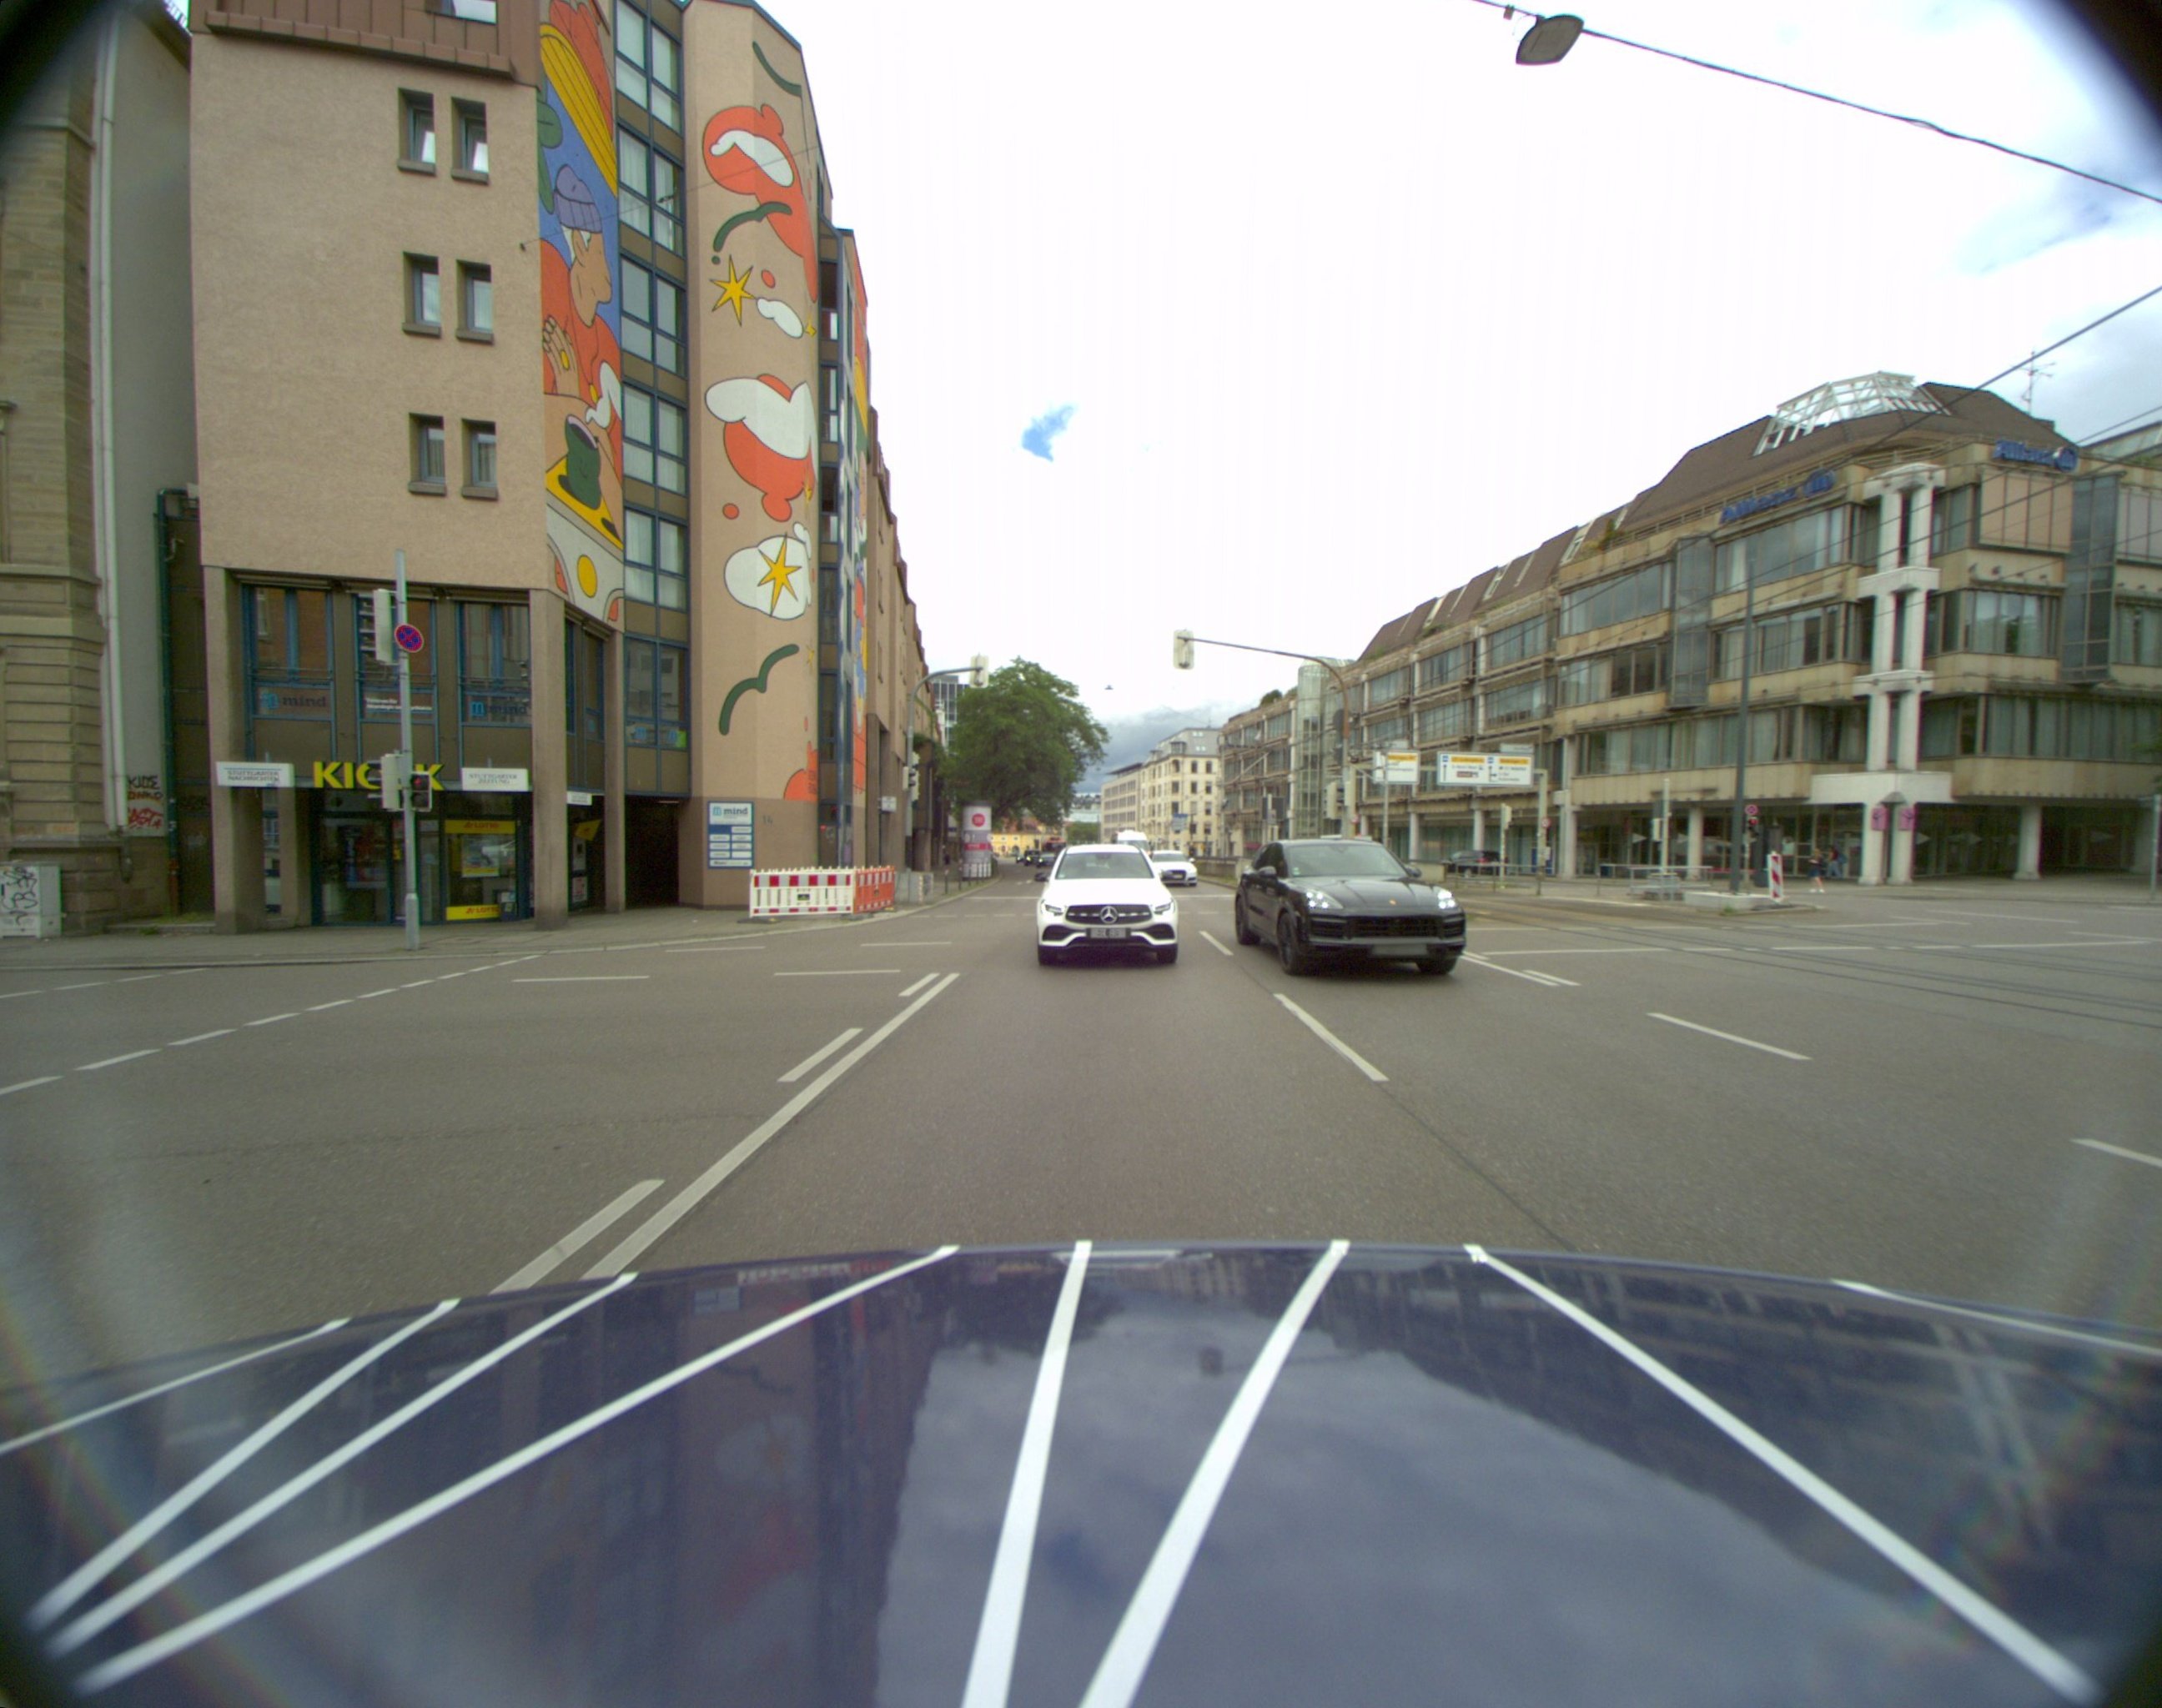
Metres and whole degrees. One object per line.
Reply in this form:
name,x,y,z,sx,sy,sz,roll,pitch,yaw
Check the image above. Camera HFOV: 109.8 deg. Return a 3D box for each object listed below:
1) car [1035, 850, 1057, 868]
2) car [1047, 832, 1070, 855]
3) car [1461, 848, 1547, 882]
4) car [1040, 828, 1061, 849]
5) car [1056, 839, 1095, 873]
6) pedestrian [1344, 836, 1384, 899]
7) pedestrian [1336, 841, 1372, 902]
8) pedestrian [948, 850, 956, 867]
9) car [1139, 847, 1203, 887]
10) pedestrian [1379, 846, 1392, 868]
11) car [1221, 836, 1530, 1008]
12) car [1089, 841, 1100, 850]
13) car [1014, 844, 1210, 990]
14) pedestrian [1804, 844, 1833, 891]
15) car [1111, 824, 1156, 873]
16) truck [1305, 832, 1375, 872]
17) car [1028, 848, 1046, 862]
car,-3.247,0.456,70.322,1.950,1.521,3.998,-1,1,-3
car,-2.950,-1.319,96.968,2.504,2.793,5.724,-1,1,-6
car,23.487,0.543,42.406,1.679,1.749,4.778,-1,1,-8
car,-4.229,-2.110,104.423,2.504,2.793,5.724,-1,1,-6
car,-0.371,0.114,51.655,2.503,2.145,5.726,-1,1,-1
pedestrian,7.779,0.362,20.917,0.794,1.711,0.772,0,1,-1
pedestrian,7.774,0.477,21.657,0.766,1.711,0.637,0,1,-1
pedestrian,-13.334,0.457,78.549,0.711,1.701,0.687,0,0,-1
car,3.662,0.486,31.608,1.950,1.521,3.998,-1,1,-3
pedestrian,25.289,0.205,63.031,0.733,1.801,0.739,-1,1,-6
car,3.373,0.677,10.106,2.088,1.665,5.352,-1,0,1
car,3.398,-2.074,187.624,2.000,2.002,4.786,-1,1,-7
car,0.195,0.681,10.573,2.061,1.599,3.923,-1,1,-8
pedestrian,28.013,0.504,28.865,0.511,1.769,0.577,0,1,1
car,3.072,-0.333,45.137,2.295,2.723,4.752,-1,1,0
truck,21.108,-0.214,62.462,2.274,3.058,7.367,2,1,-8
car,-4.889,0.077,84.296,1.950,1.521,3.998,-1,1,-3
